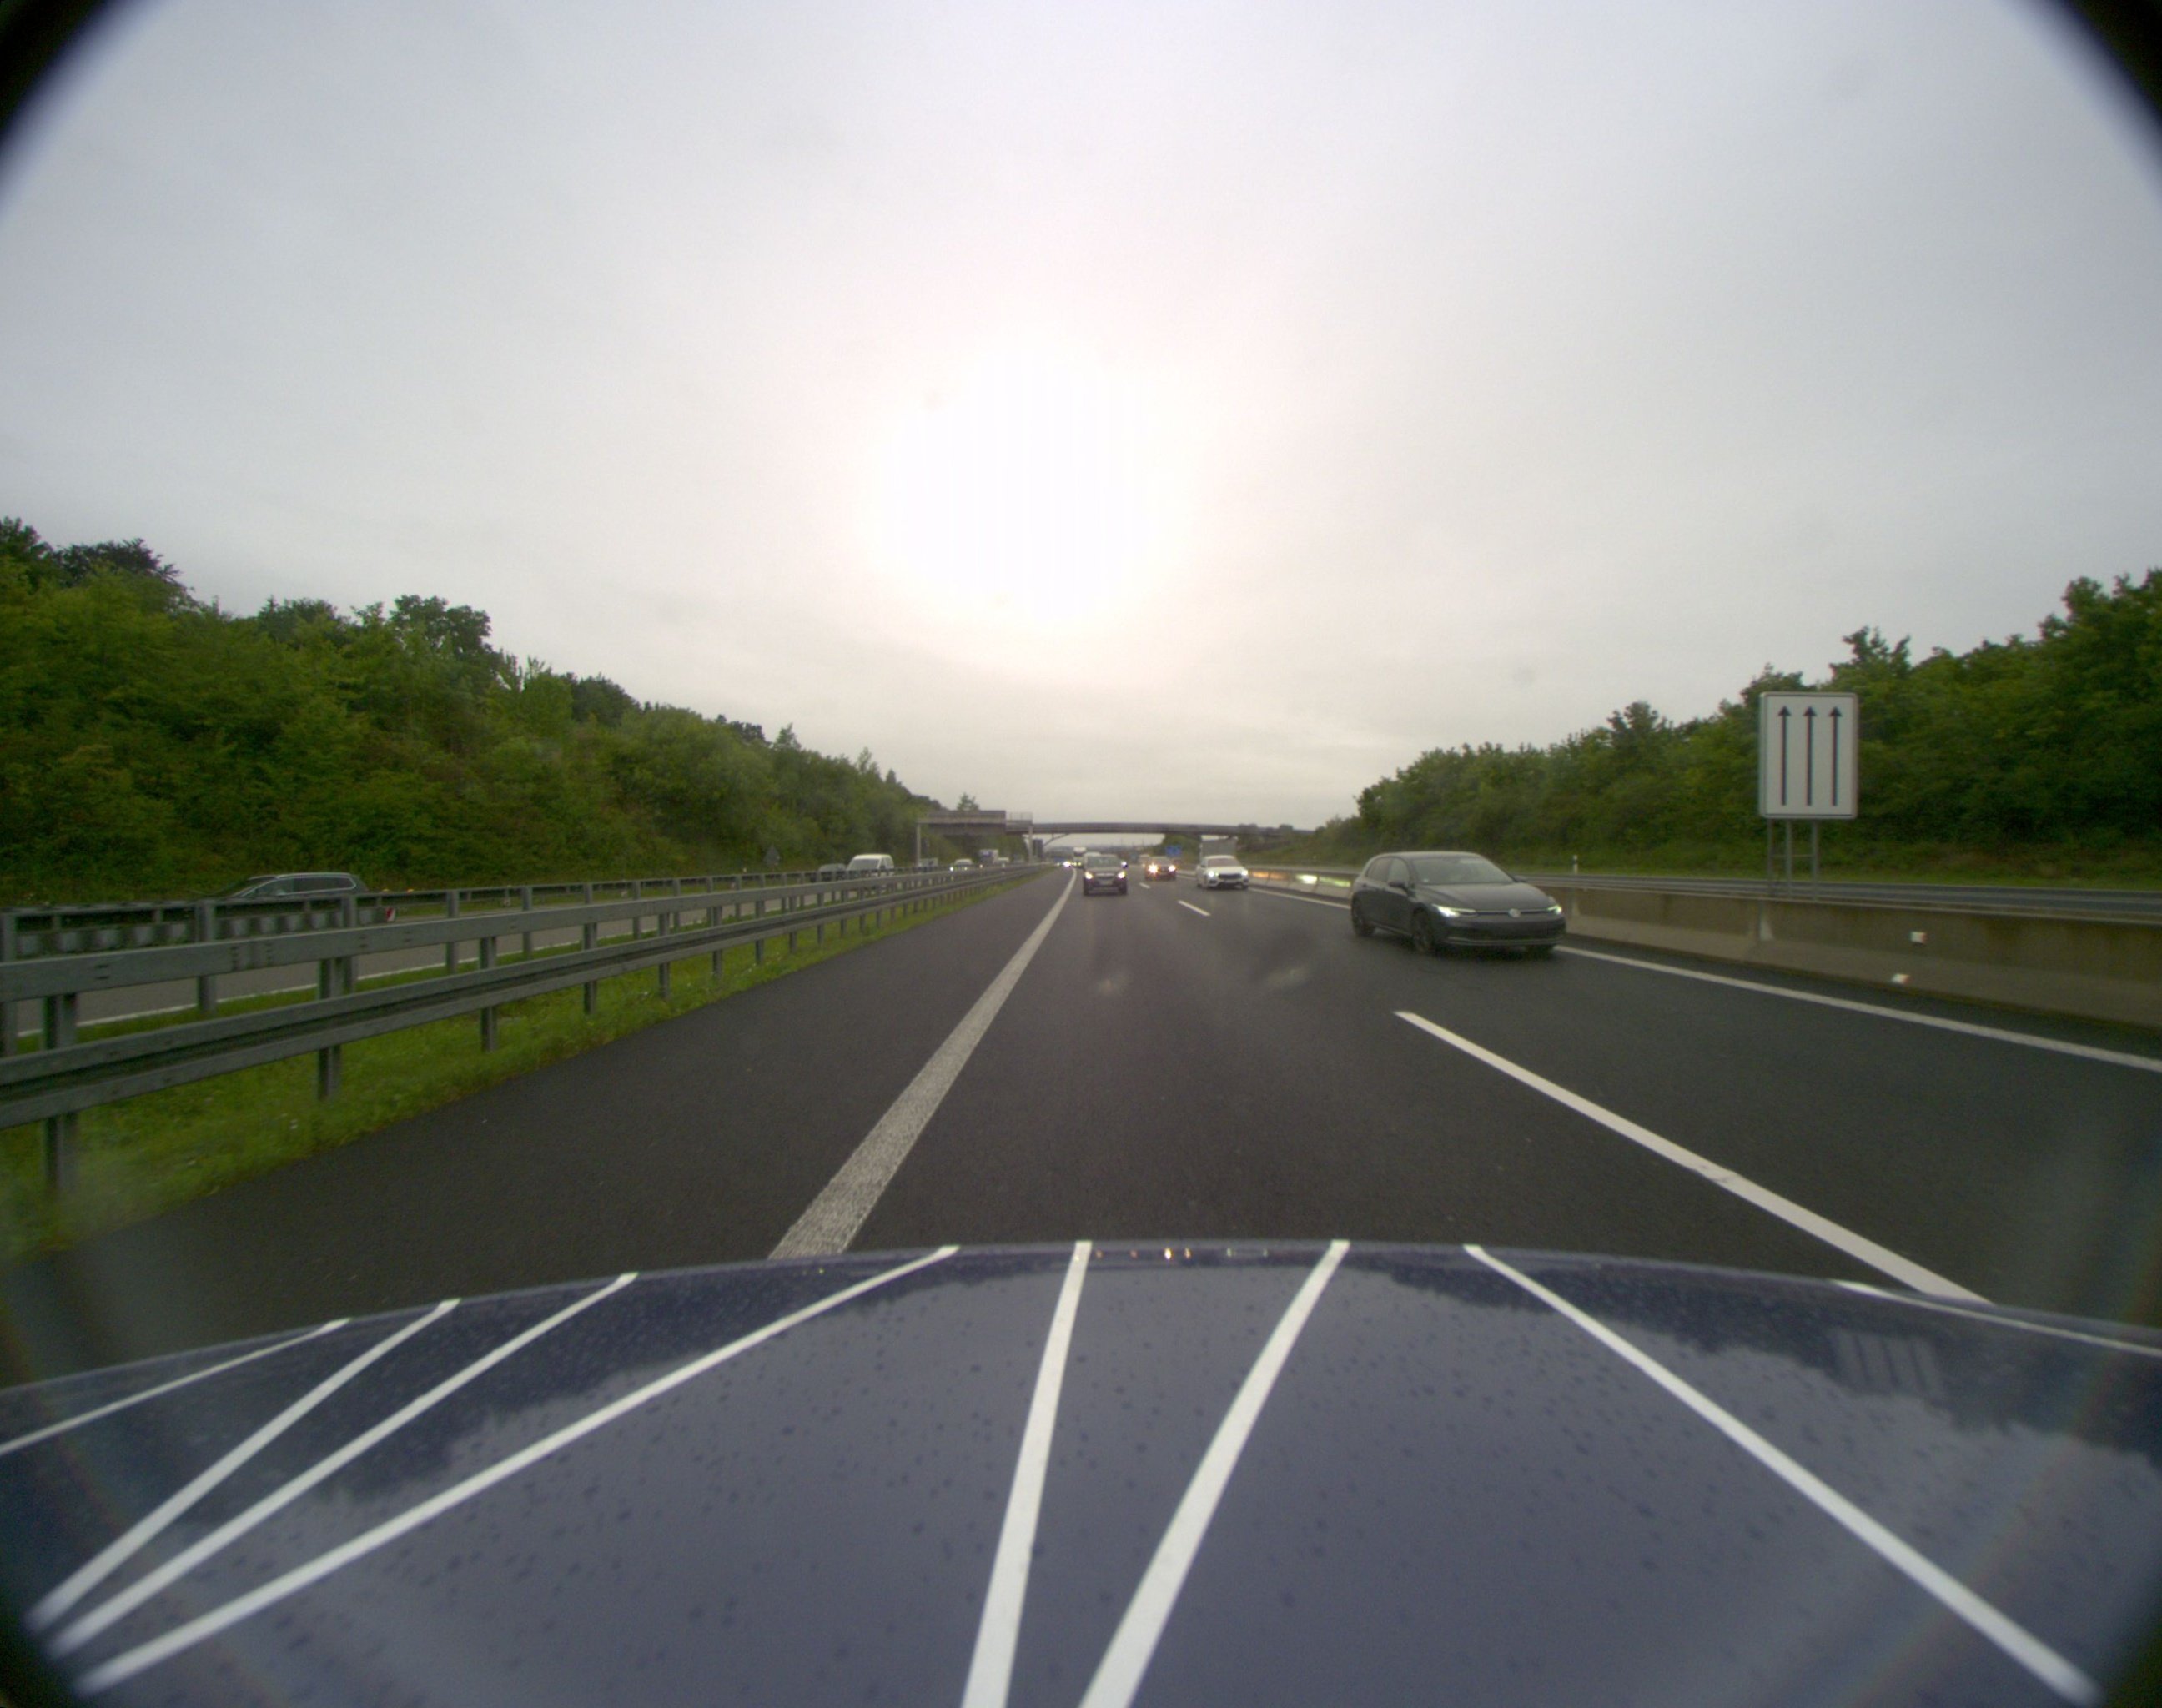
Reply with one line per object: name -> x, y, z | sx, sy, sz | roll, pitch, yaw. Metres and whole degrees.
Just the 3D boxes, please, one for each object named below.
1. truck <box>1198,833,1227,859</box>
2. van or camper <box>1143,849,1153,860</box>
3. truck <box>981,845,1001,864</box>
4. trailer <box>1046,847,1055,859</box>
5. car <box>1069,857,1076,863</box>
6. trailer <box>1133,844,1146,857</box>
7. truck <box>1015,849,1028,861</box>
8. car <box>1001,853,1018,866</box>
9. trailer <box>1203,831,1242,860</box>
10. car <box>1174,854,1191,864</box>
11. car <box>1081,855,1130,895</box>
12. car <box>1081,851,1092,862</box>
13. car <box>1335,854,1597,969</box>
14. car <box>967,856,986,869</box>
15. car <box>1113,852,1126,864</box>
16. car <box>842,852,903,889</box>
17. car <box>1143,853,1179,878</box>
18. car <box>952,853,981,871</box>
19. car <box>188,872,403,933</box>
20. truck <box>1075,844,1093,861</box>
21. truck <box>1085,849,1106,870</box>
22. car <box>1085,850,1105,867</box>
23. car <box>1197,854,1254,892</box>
truck -> 21.034, -1.226, 121.882 | 3.268, 4.059, 7.440 | -1, 0, 0
van or camper -> 16.148, 0.166, 183.743 | 1.799, 2.455, 5.547 | -1, 0, 1
truck -> -17.252, 0.017, 146.223 | 2.909, 3.397, 9.279 | -1, 0, -2
trailer -> -9.961, -0.190, 249.801 | 2.547, 3.799, 11.329 | -1, 0, 0
car -> -2.606, 1.857, 240.561 | 1.916, 1.671, 4.001 | -1, 0, 3
trailer -> 18.757, -1.029, 244.505 | 2.797, 4.059, 13.524 | -1, 0, -1
truck -> -16.903, 0.245, 217.388 | 2.909, 3.397, 13.350 | -1, 0, -1
car -> -10.483, 0.845, 111.761 | 2.013, 1.804, 4.276 | -1, 0, 1
trailer -> 20.984, -1.217, 113.634 | 3.268, 4.059, 13.844 | -1, 0, 0
car -> 14.503, 0.736, 108.487 | 1.905, 1.397, 4.379 | -1, 0, 2
car -> 1.071, 0.827, 31.852 | 1.905, 1.497, 4.115 | -1, 0, 3
car -> 0.977, 0.463, 124.708 | 1.715, 1.724, 4.000 | -1, 0, 1
car -> 5.610, 0.730, 11.836 | 1.905, 1.397, 4.459 | -1, 0, 2
car -> -13.367, 1.076, 97.385 | 1.901, 1.603, 4.145 | -1, 0, 1
car -> 5.603, 0.526, 111.024 | 1.715, 1.724, 4.000 | -1, 0, 1
car -> -10.825, 0.797, 39.853 | 1.864, 1.794, 4.647 | -1, 0, 0
car -> 5.066, 0.678, 48.572 | 1.905, 1.497, 4.114 | -1, 0, 1
car -> -10.705, 0.696, 71.347 | 2.013, 1.539, 4.695 | -1, 0, 0
car -> -24.321, 1.432, 23.763 | 1.862, 1.573, 4.245 | -1, 0, 17
truck -> 0.491, -0.358, 154.496 | 3.154, 3.332, 13.097 | -2, 0, -2
truck -> 1.569, 0.545, 84.592 | 2.175, 2.214, 5.642 | -1, 0, 0
car -> 1.447, 0.439, 77.954 | 1.825, 1.669, 4.001 | -1, 0, 4
car -> 6.314, 0.795, 33.597 | 1.905, 1.497, 4.115 | -1, 0, 3
